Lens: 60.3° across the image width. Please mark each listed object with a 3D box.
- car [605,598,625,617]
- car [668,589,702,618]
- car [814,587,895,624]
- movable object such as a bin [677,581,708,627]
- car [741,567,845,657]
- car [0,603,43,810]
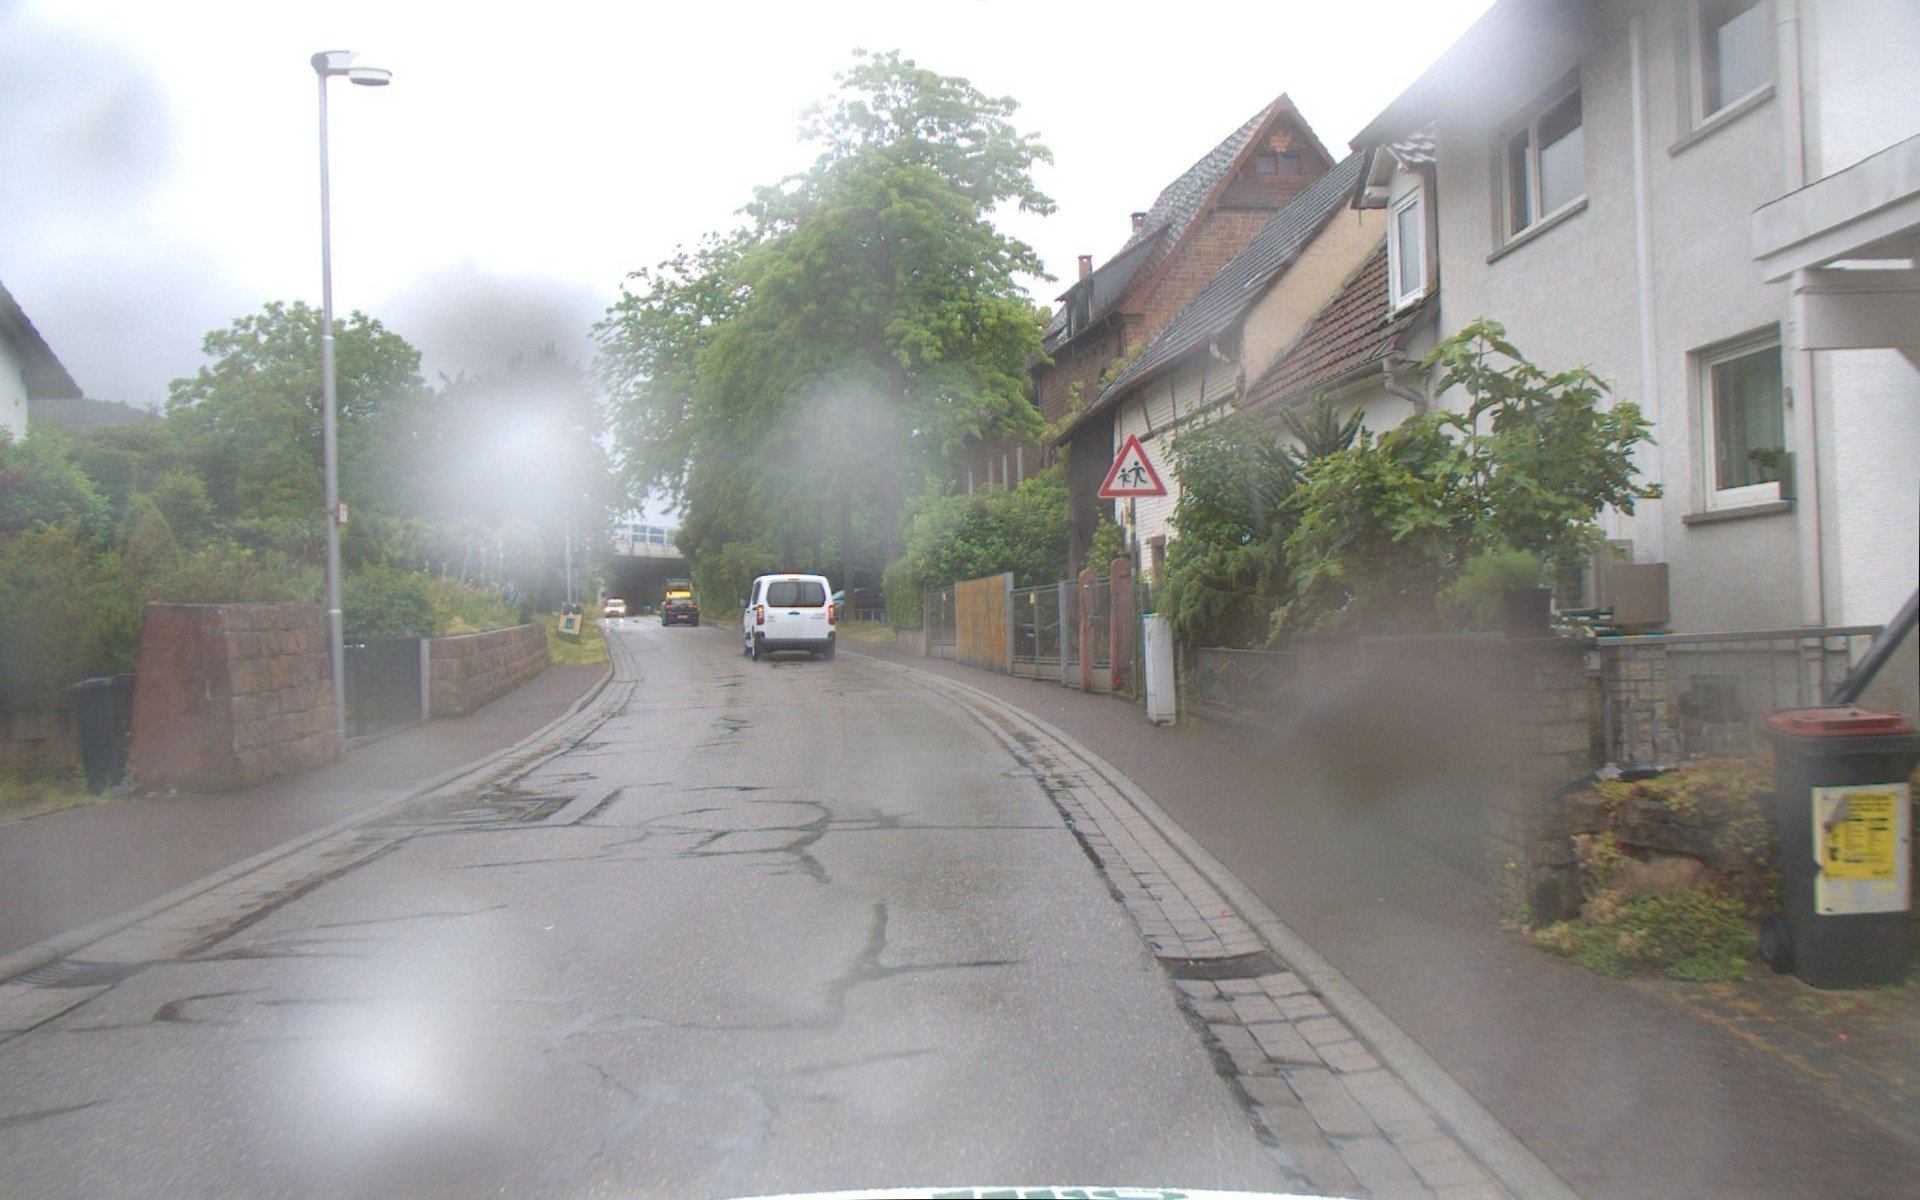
[{"bbox_3d":[-33.925,0.715,162.666,1.792,1.864,4.292,0,-1,-14],"label":"car"},{"bbox_3d":[-13.903,0.196,83.631,1.677,1.402,3.991,0,-1,-9],"label":"car"},{"bbox_3d":[-4.759,0.229,74.953,1.592,1.578,3.592,-2,-1,41],"label":"car"},{"bbox_3d":[-15.418,0.231,95.258,1.729,2.592,4.229,0,-1,-10],"label":"movable object such as a bin"},{"bbox_3d":[-3.757,0.235,36.626,1.863,1.838,3.989,-1,1,-12],"label":"car"},{"bbox_3d":[-9.072,0.826,11.882,3.902,1.519,2.002,-1,-1,8],"label":"car"}]
